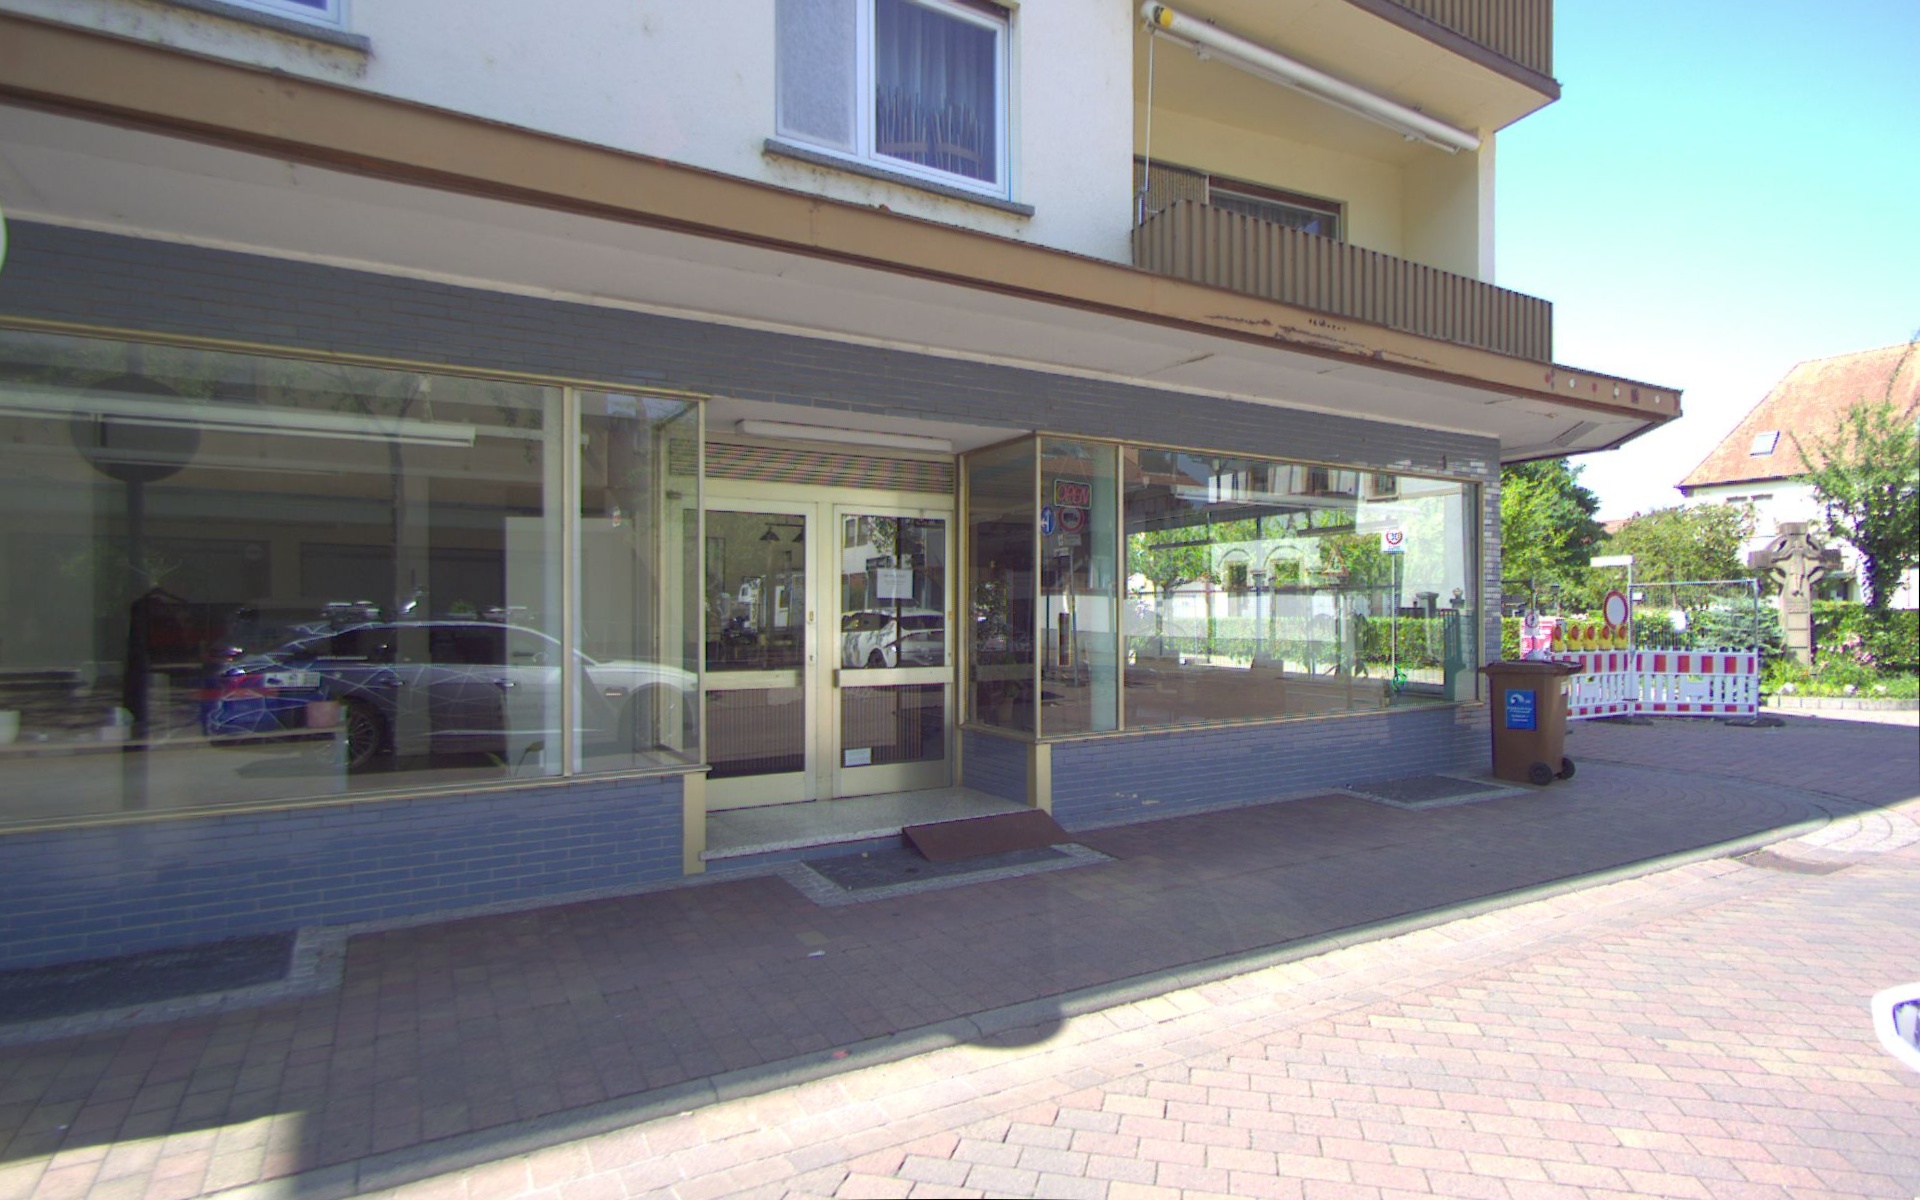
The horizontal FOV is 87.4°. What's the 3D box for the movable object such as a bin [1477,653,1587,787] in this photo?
[{"bbox_3d":[5.111,1.043,8.982,0.657,1.084,0.650,0,0,-36],"label":"movable object such as a bin"}]
